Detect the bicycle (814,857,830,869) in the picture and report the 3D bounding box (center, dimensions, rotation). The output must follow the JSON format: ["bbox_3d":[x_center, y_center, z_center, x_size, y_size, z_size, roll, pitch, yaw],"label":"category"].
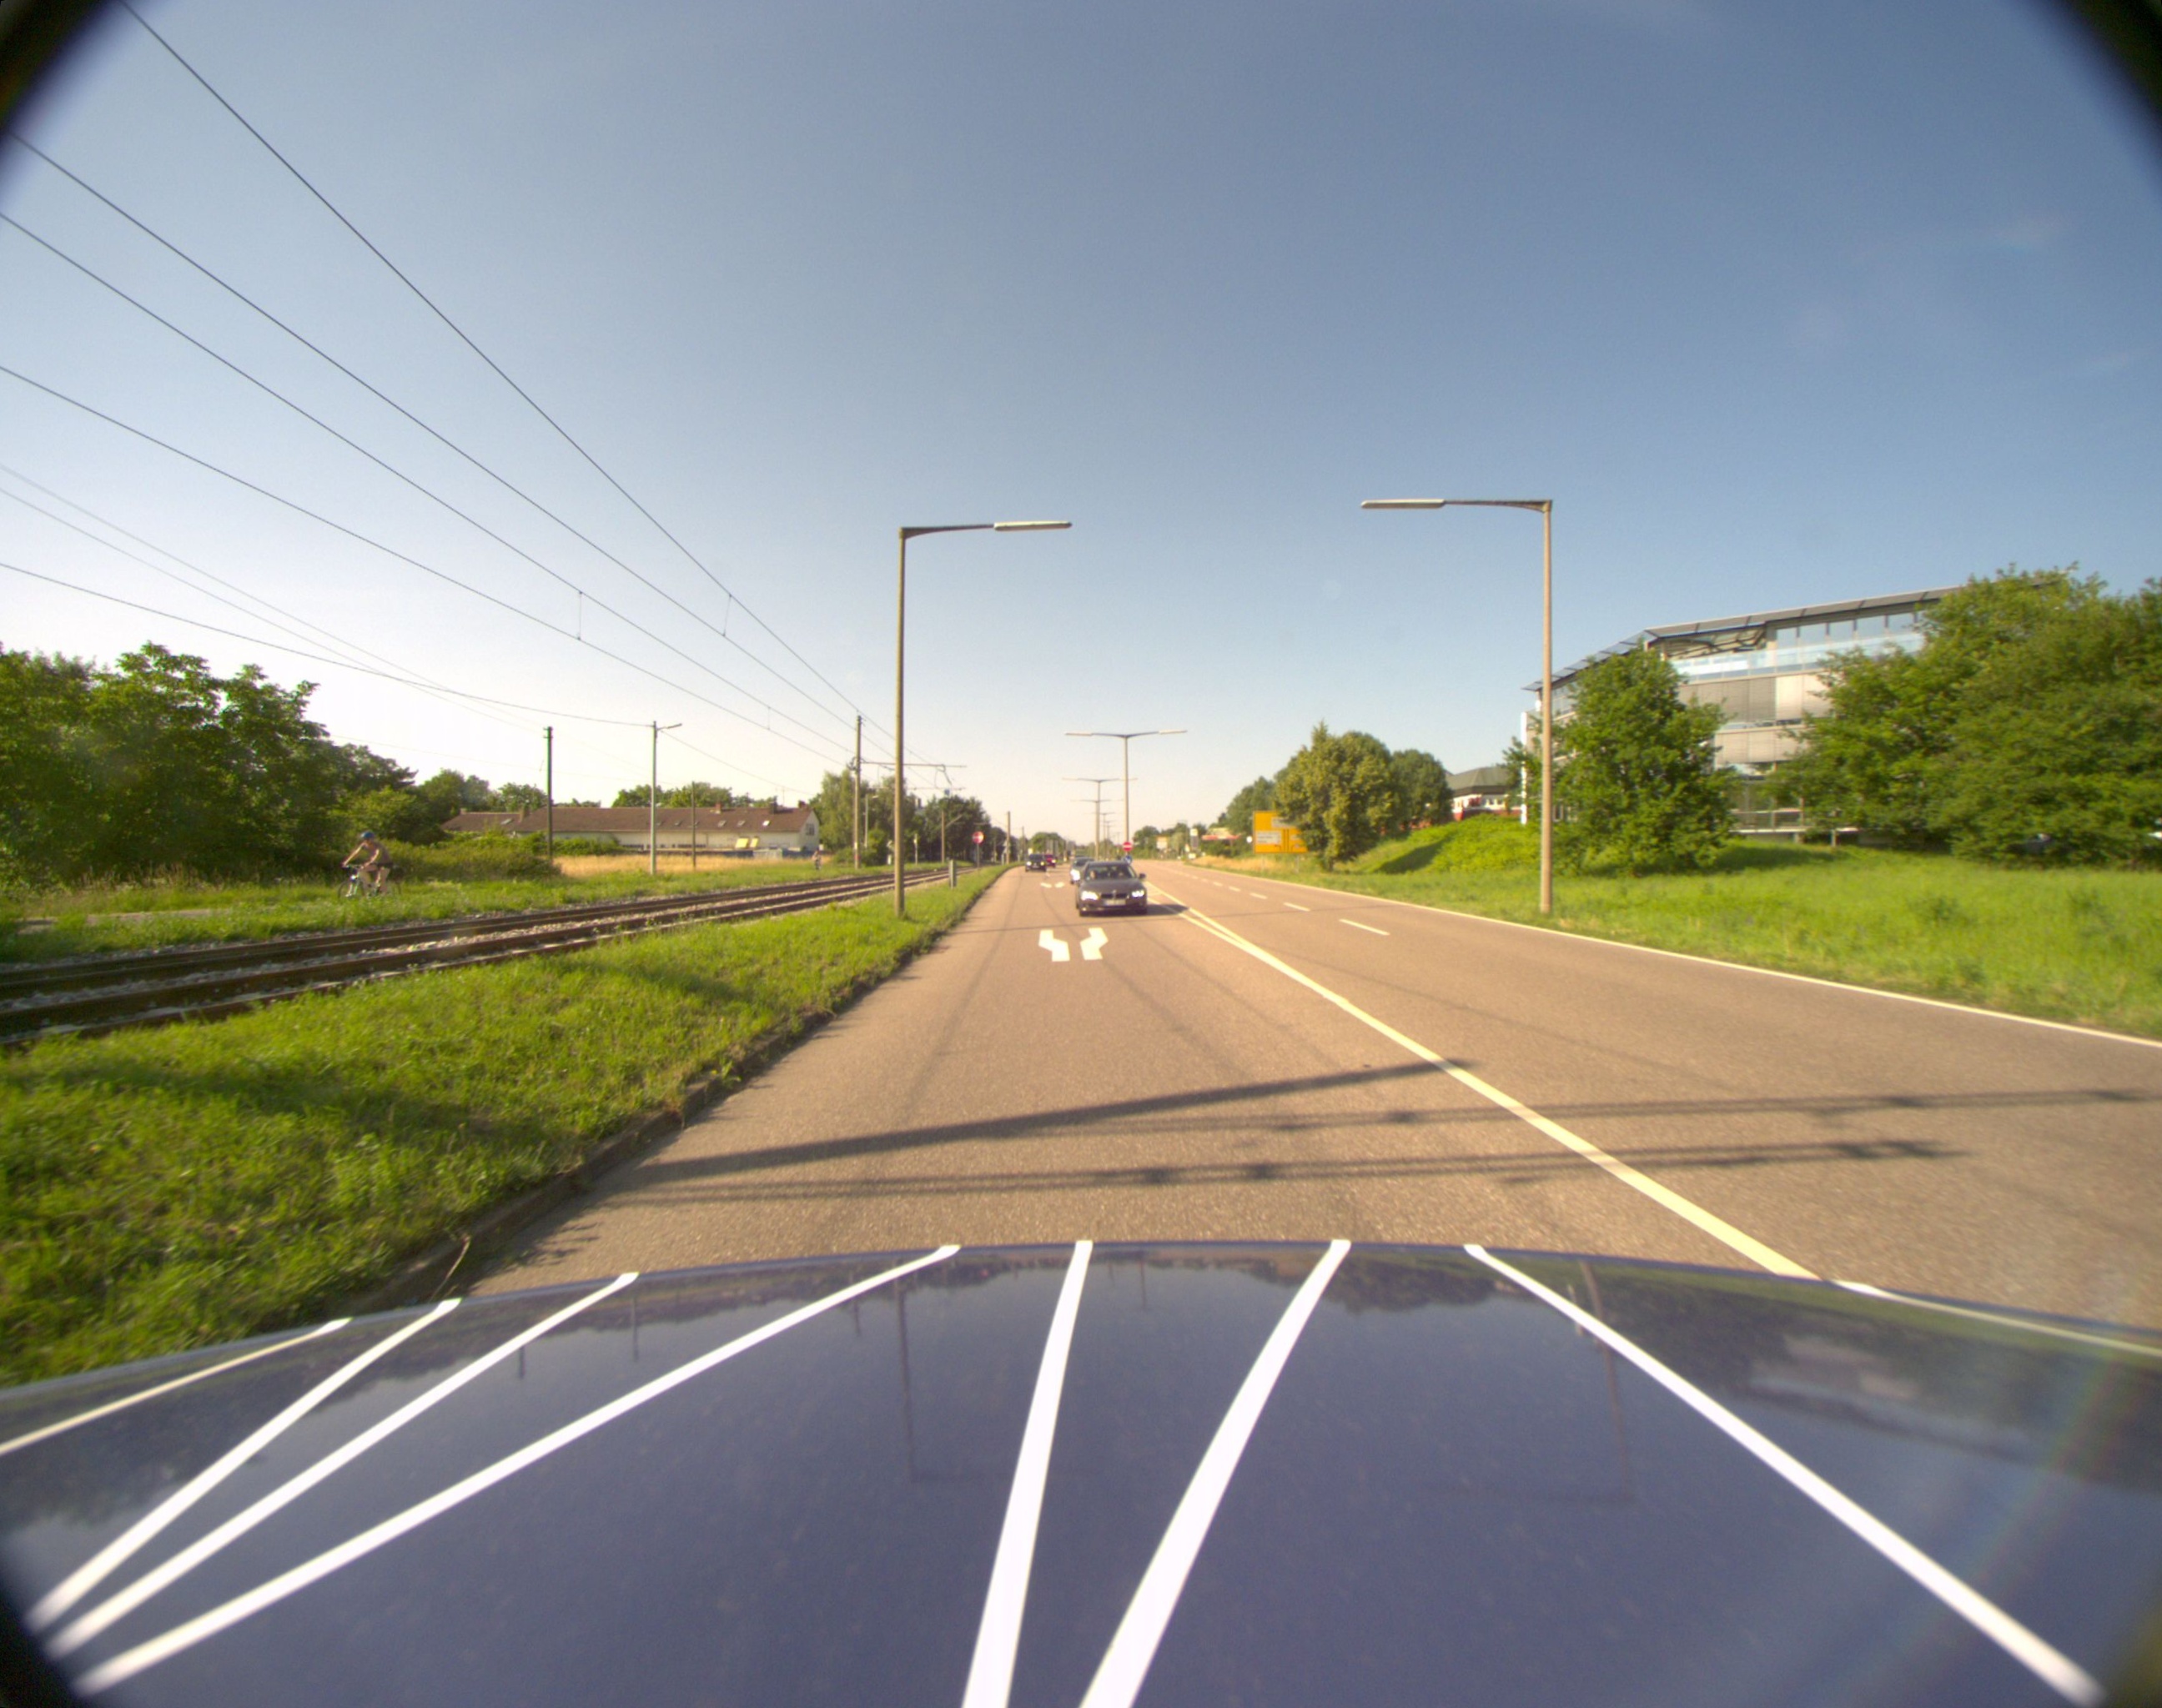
[{"bbox_3d":[-20.405,0.718,59.904,0.644,0.904,1.813,-1,0,0],"label":"bicycle"}]

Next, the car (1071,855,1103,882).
[{"bbox_3d":[0.358,0.810,43.062,1.710,1.444,4.590,-2,-1,1],"label":"car"}]

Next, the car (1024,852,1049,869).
[{"bbox_3d":[-3.921,0.567,67.776,1.847,1.347,4.154,-2,0,0],"label":"car"}]

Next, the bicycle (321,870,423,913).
[{"bbox_3d":[-16.574,0.850,17.832,0.644,0.904,1.844,-1,0,0],"label":"bicycle"}]

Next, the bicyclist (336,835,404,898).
[{"bbox_3d":[-16.585,0.281,17.741,0.631,1.414,0.962,-1,0,0],"label":"bicyclist"}]

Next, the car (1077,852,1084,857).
[{"bbox_3d":[-0.266,0.060,244.494,1.837,1.504,4.152,-2,0,-4],"label":"car"}]

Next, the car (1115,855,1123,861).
[{"bbox_3d":[10.472,1.121,208.443,1.563,1.369,3.384,-3,1,-5],"label":"car"}]

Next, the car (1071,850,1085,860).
[{"bbox_3d":[-0.400,0.147,113.425,1.968,1.504,4.808,-1,0,0],"label":"car"}]

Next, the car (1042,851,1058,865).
[{"bbox_3d":[-3.447,0.456,85.155,1.607,1.504,4.268,-2,0,0],"label":"car"}]

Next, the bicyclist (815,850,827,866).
[{"bbox_3d":[-20.469,0.300,59.840,0.641,1.226,0.791,-1,0,-1],"label":"bicyclist"}]

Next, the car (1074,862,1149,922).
[{"bbox_3d":[0.740,0.965,21.079,1.748,1.444,3.946,-2,0,-2],"label":"car"}]
